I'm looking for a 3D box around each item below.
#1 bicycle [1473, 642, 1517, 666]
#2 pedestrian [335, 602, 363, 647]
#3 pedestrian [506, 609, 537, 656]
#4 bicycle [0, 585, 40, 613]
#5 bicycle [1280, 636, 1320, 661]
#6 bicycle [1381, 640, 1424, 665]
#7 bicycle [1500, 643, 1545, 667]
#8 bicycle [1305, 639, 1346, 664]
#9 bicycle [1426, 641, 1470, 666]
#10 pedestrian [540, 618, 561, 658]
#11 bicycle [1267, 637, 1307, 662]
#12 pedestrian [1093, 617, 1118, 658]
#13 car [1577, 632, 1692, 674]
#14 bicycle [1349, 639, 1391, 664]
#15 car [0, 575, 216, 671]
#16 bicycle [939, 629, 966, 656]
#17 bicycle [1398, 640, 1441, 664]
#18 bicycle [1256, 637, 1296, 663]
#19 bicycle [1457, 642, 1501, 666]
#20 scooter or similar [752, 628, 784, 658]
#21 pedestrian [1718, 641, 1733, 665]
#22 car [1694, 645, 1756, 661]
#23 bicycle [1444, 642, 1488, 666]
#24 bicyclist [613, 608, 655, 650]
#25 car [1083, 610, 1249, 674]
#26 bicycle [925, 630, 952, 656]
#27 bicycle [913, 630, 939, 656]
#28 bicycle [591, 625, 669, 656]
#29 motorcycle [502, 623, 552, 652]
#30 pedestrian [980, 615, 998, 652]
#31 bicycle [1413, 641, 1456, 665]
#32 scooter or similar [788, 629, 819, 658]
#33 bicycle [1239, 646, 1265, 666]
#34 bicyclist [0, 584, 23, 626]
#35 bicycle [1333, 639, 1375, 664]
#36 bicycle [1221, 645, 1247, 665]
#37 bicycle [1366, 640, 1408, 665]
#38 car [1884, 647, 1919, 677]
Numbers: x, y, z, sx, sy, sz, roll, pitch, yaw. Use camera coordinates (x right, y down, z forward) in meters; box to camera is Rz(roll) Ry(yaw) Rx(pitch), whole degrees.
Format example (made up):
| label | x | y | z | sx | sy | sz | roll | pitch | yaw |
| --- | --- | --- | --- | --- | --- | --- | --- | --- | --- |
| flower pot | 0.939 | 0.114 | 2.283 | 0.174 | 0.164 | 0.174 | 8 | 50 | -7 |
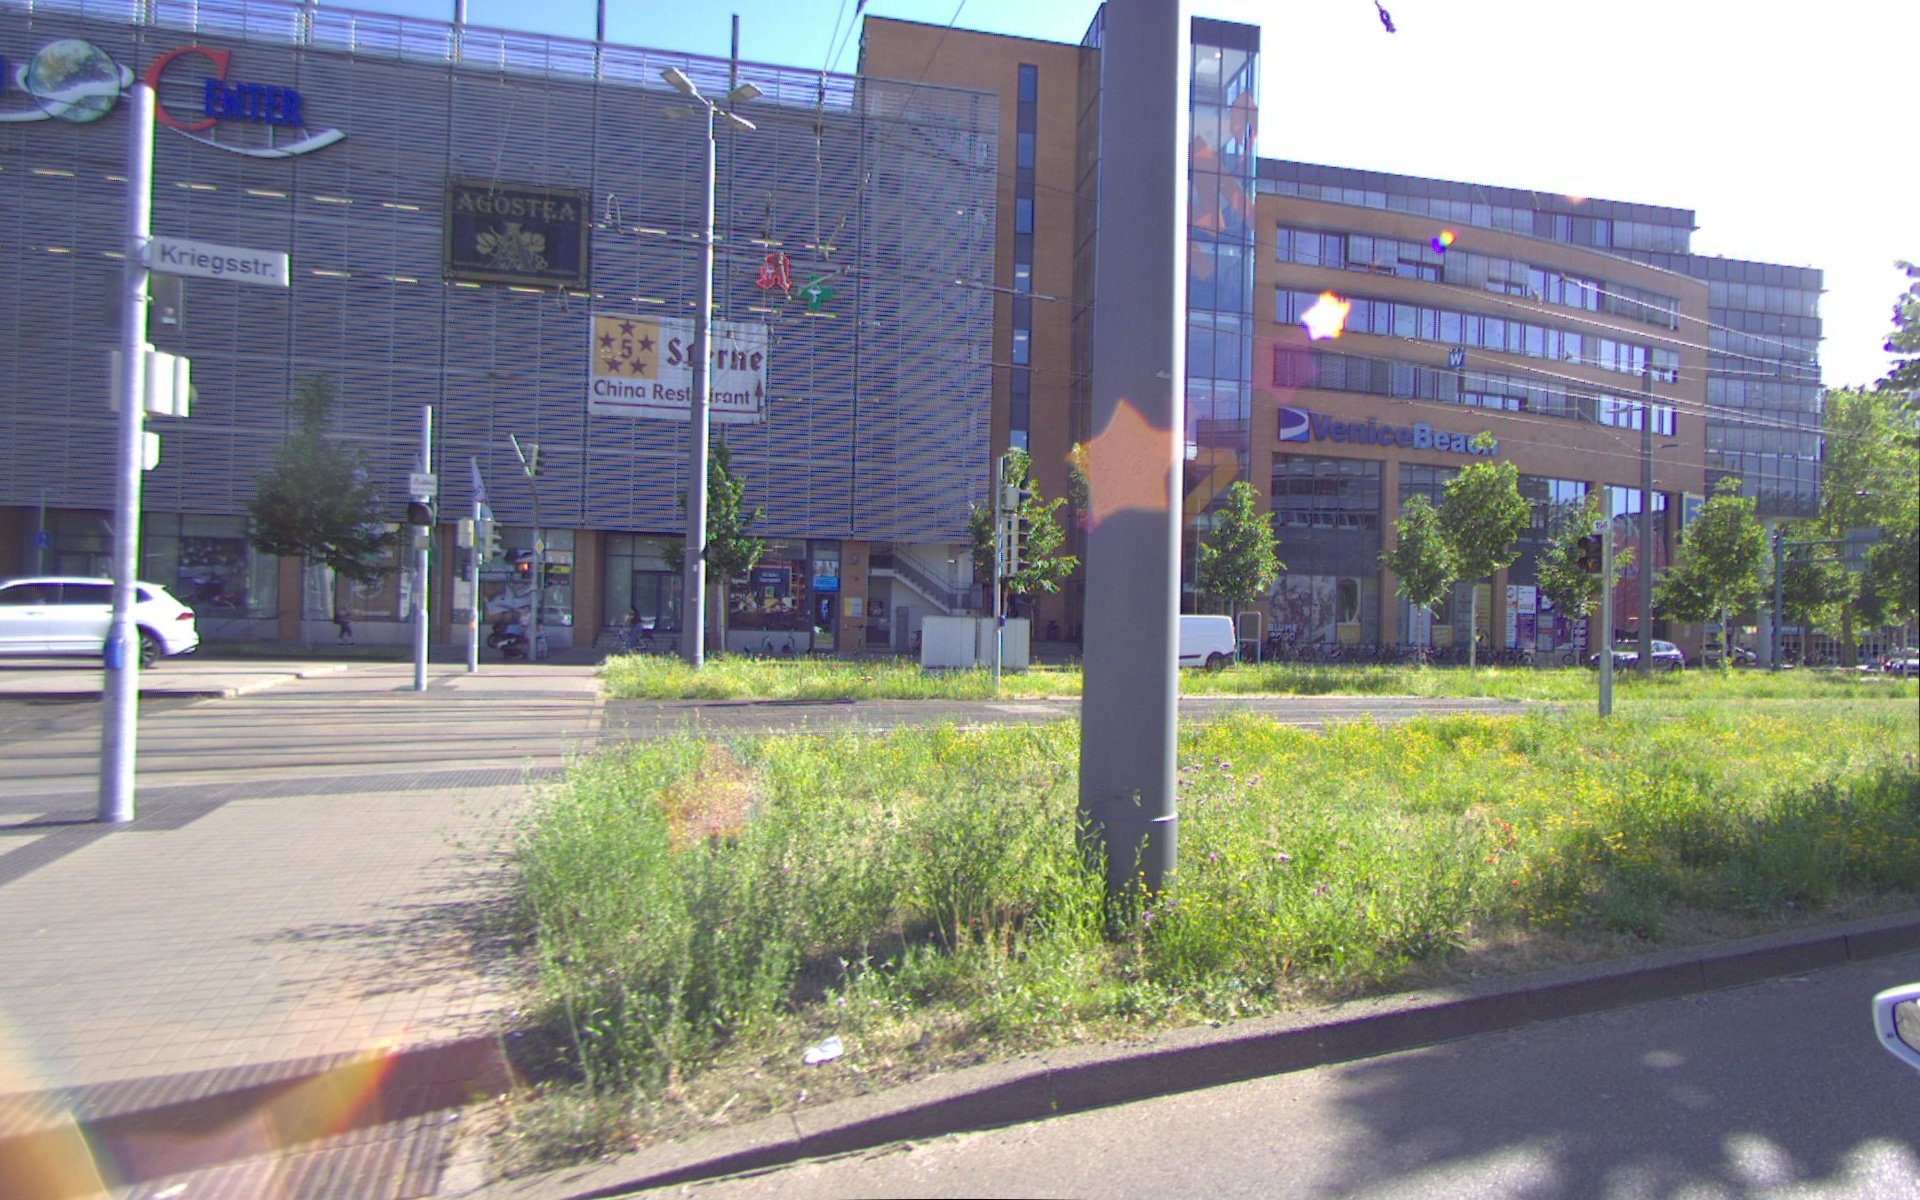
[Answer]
| label | x | y | z | sx | sy | sz | roll | pitch | yaw |
| --- | --- | --- | --- | --- | --- | --- | --- | --- | --- |
| bicycle | 28.350 | 2.877 | 53.276 | 0.741 | 1.138 | 2.172 | 2 | 0 | -17 |
| pedestrian | -21.425 | 0.850 | 35.206 | 0.637 | 1.539 | 0.490 | 2 | -1 | -8 |
| pedestrian | -14.190 | 1.050 | 32.508 | 0.727 | 1.506 | 0.490 | 2 | -1 | -3 |
| bicycle | -30.926 | -0.042 | 32.199 | 2.013 | 0.879 | 0.681 | 2 | -1 | -13 |
| bicycle | 17.043 | 2.429 | 50.369 | 0.741 | 1.138 | 2.172 | 2 | 0 | -17 |
| bicycle | 22.711 | 2.671 | 51.579 | 0.741 | 1.138 | 2.172 | 2 | 0 | -17 |
| bicycle | 30.077 | 2.937 | 53.749 | 0.741 | 1.138 | 2.172 | 2 | 0 | -17 |
| bicycle | 18.336 | 2.565 | 50.386 | 0.741 | 1.138 | 2.172 | 2 | 0 | -17 |
| bicycle | 25.294 | 2.764 | 52.091 | 0.741 | 1.138 | 2.172 | 2 | 0 | -17 |
| pedestrian | -13.000 | 1.208 | 31.885 | 0.440 | 1.245 | 0.398 | 1 | -1 | 13 |
| bicycle | 16.243 | 2.437 | 49.950 | 0.741 | 1.138 | 2.172 | 2 | 0 | -17 |
| pedestrian | 6.103 | 1.582 | 42.130 | 0.768 | 1.707 | 0.593 | 2 | -1 | -26 |
| car | 29.397 | 2.314 | 43.770 | 4.472 | 1.703 | 1.990 | 2 | -1 | -22 |
| bicycle | 20.838 | 2.598 | 51.110 | 0.741 | 1.138 | 2.172 | 2 | 0 | -17 |
| car | -17.110 | 0.401 | 18.304 | 5.508 | 1.674 | 1.791 | 3 | -2 | -44 |
| bicycle | -0.309 | 1.732 | 41.308 | 0.485 | 0.967 | 2.172 | 2 | 0 | -17 |
| bicycle | 23.681 | 2.661 | 51.788 | 0.741 | 1.138 | 2.172 | 2 | 0 | -17 |
| bicycle | 15.510 | 2.436 | 49.312 | 0.741 | 1.138 | 2.172 | 2 | 0 | -17 |
| bicycle | 27.431 | 2.848 | 53.110 | 0.741 | 1.138 | 2.172 | 2 | 0 | -17 |
| scooter or similar | -7.710 | 1.731 | 40.373 | 1.184 | 1.117 | 0.276 | 3 | -1 | -10 |
| pedestrian | 55.552 | 3.853 | 72.899 | 0.778 | 1.645 | 0.504 | 4 | -2 | -27 |
| car | 67.699 | 4.664 | 88.949 | 1.975 | 1.247 | 3.971 | 2 | -1 | -28 |
| bicycle | 26.598 | 2.817 | 52.874 | 0.741 | 1.138 | 2.172 | 2 | 0 | -17 |
| bicyclist | -11.506 | 1.015 | 35.473 | 1.289 | 1.426 | 0.592 | 2 | -1 | -11 |
| car | 7.044 | 1.428 | 34.348 | 5.179 | 2.040 | 2.217 | 2 | -1 | -22 |
| bicycle | -0.888 | 1.750 | 41.060 | 0.485 | 0.967 | 2.172 | 2 | 0 | -17 |
| bicycle | -1.405 | 1.734 | 40.831 | 0.485 | 0.967 | 2.172 | 2 | 0 | -17 |
| bicycle | -11.634 | 1.439 | 35.433 | 2.523 | 1.024 | 0.597 | 2 | -1 | -11 |
| motorcycle | -16.110 | 1.395 | 37.391 | 1.591 | 1.052 | 0.401 | 2 | -1 | -12 |
| pedestrian | 1.272 | 1.468 | 44.324 | 0.649 | 1.574 | 0.637 | 2 | -1 | -6 |
| bicycle | 24.481 | 2.733 | 51.859 | 0.741 | 1.138 | 2.172 | 2 | 0 | -17 |
| scooter or similar | -6.352 | 1.765 | 40.705 | 1.184 | 1.117 | 0.276 | 3 | -1 | -10 |
| bicycle | 13.495 | 2.576 | 46.440 | 0.438 | 0.830 | 1.445 | 2 | 0 | -17 |
| bicyclist | -30.929 | 0.155 | 32.212 | 1.022 | 1.335 | 0.681 | 2 | -1 | -13 |
| bicycle | 19.903 | 2.571 | 50.786 | 0.741 | 1.138 | 2.172 | 2 | 0 | -17 |
| bicycle | 12.594 | 2.529 | 46.258 | 0.438 | 0.830 | 1.445 | 2 | 0 | -17 |
| bicycle | 21.826 | 2.658 | 51.373 | 0.741 | 1.138 | 2.172 | 2 | 0 | -17 |
| car | 47.680 | 3.055 | 49.295 | 4.730 | 1.352 | 1.986 | 2 | -1 | -28 |
